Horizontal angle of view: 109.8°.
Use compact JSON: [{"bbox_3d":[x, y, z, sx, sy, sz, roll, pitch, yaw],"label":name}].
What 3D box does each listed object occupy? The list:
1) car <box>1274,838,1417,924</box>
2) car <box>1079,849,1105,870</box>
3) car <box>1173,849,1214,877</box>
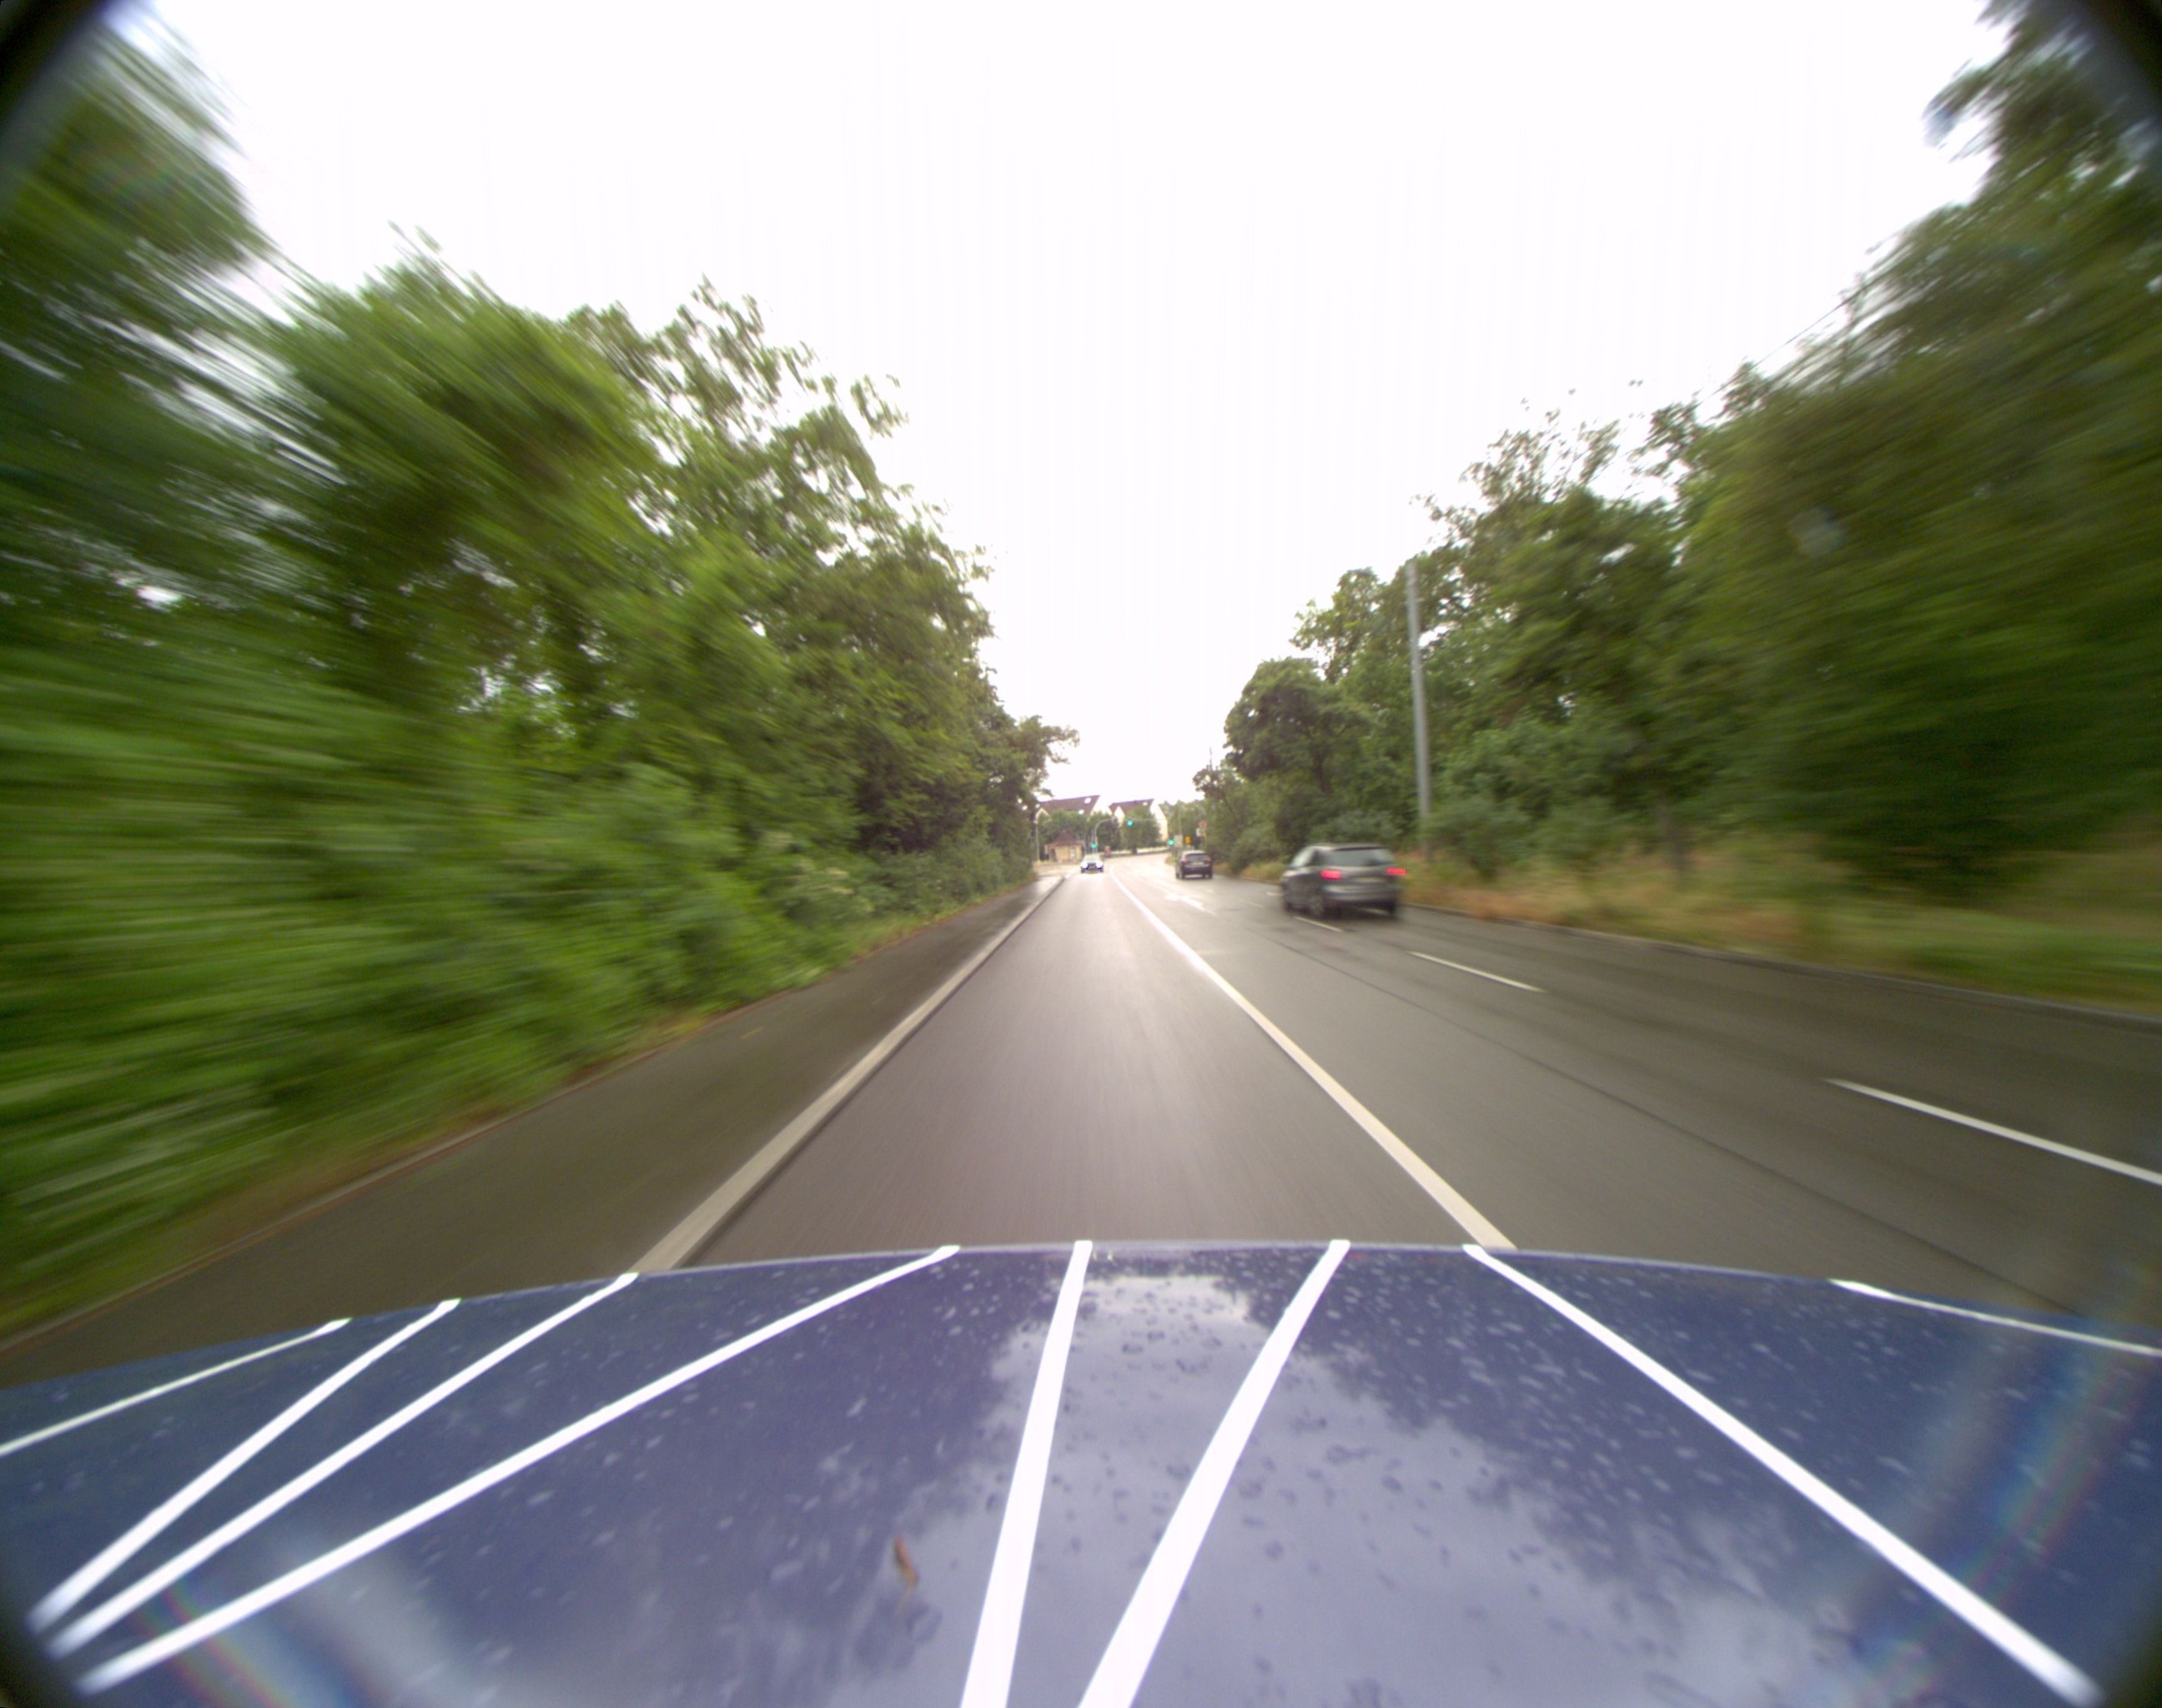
[{"bbox_3d":[5.731,0.519,17.011,1.776,1.601,4.083,-3,1,1],"label":"car"},{"bbox_3d":[0.913,0.414,60.684,1.945,1.447,4.603,-3,1,2],"label":"car"},{"bbox_3d":[6.106,0.442,41.653,1.603,1.433,3.990,-2,0,0],"label":"car"}]
